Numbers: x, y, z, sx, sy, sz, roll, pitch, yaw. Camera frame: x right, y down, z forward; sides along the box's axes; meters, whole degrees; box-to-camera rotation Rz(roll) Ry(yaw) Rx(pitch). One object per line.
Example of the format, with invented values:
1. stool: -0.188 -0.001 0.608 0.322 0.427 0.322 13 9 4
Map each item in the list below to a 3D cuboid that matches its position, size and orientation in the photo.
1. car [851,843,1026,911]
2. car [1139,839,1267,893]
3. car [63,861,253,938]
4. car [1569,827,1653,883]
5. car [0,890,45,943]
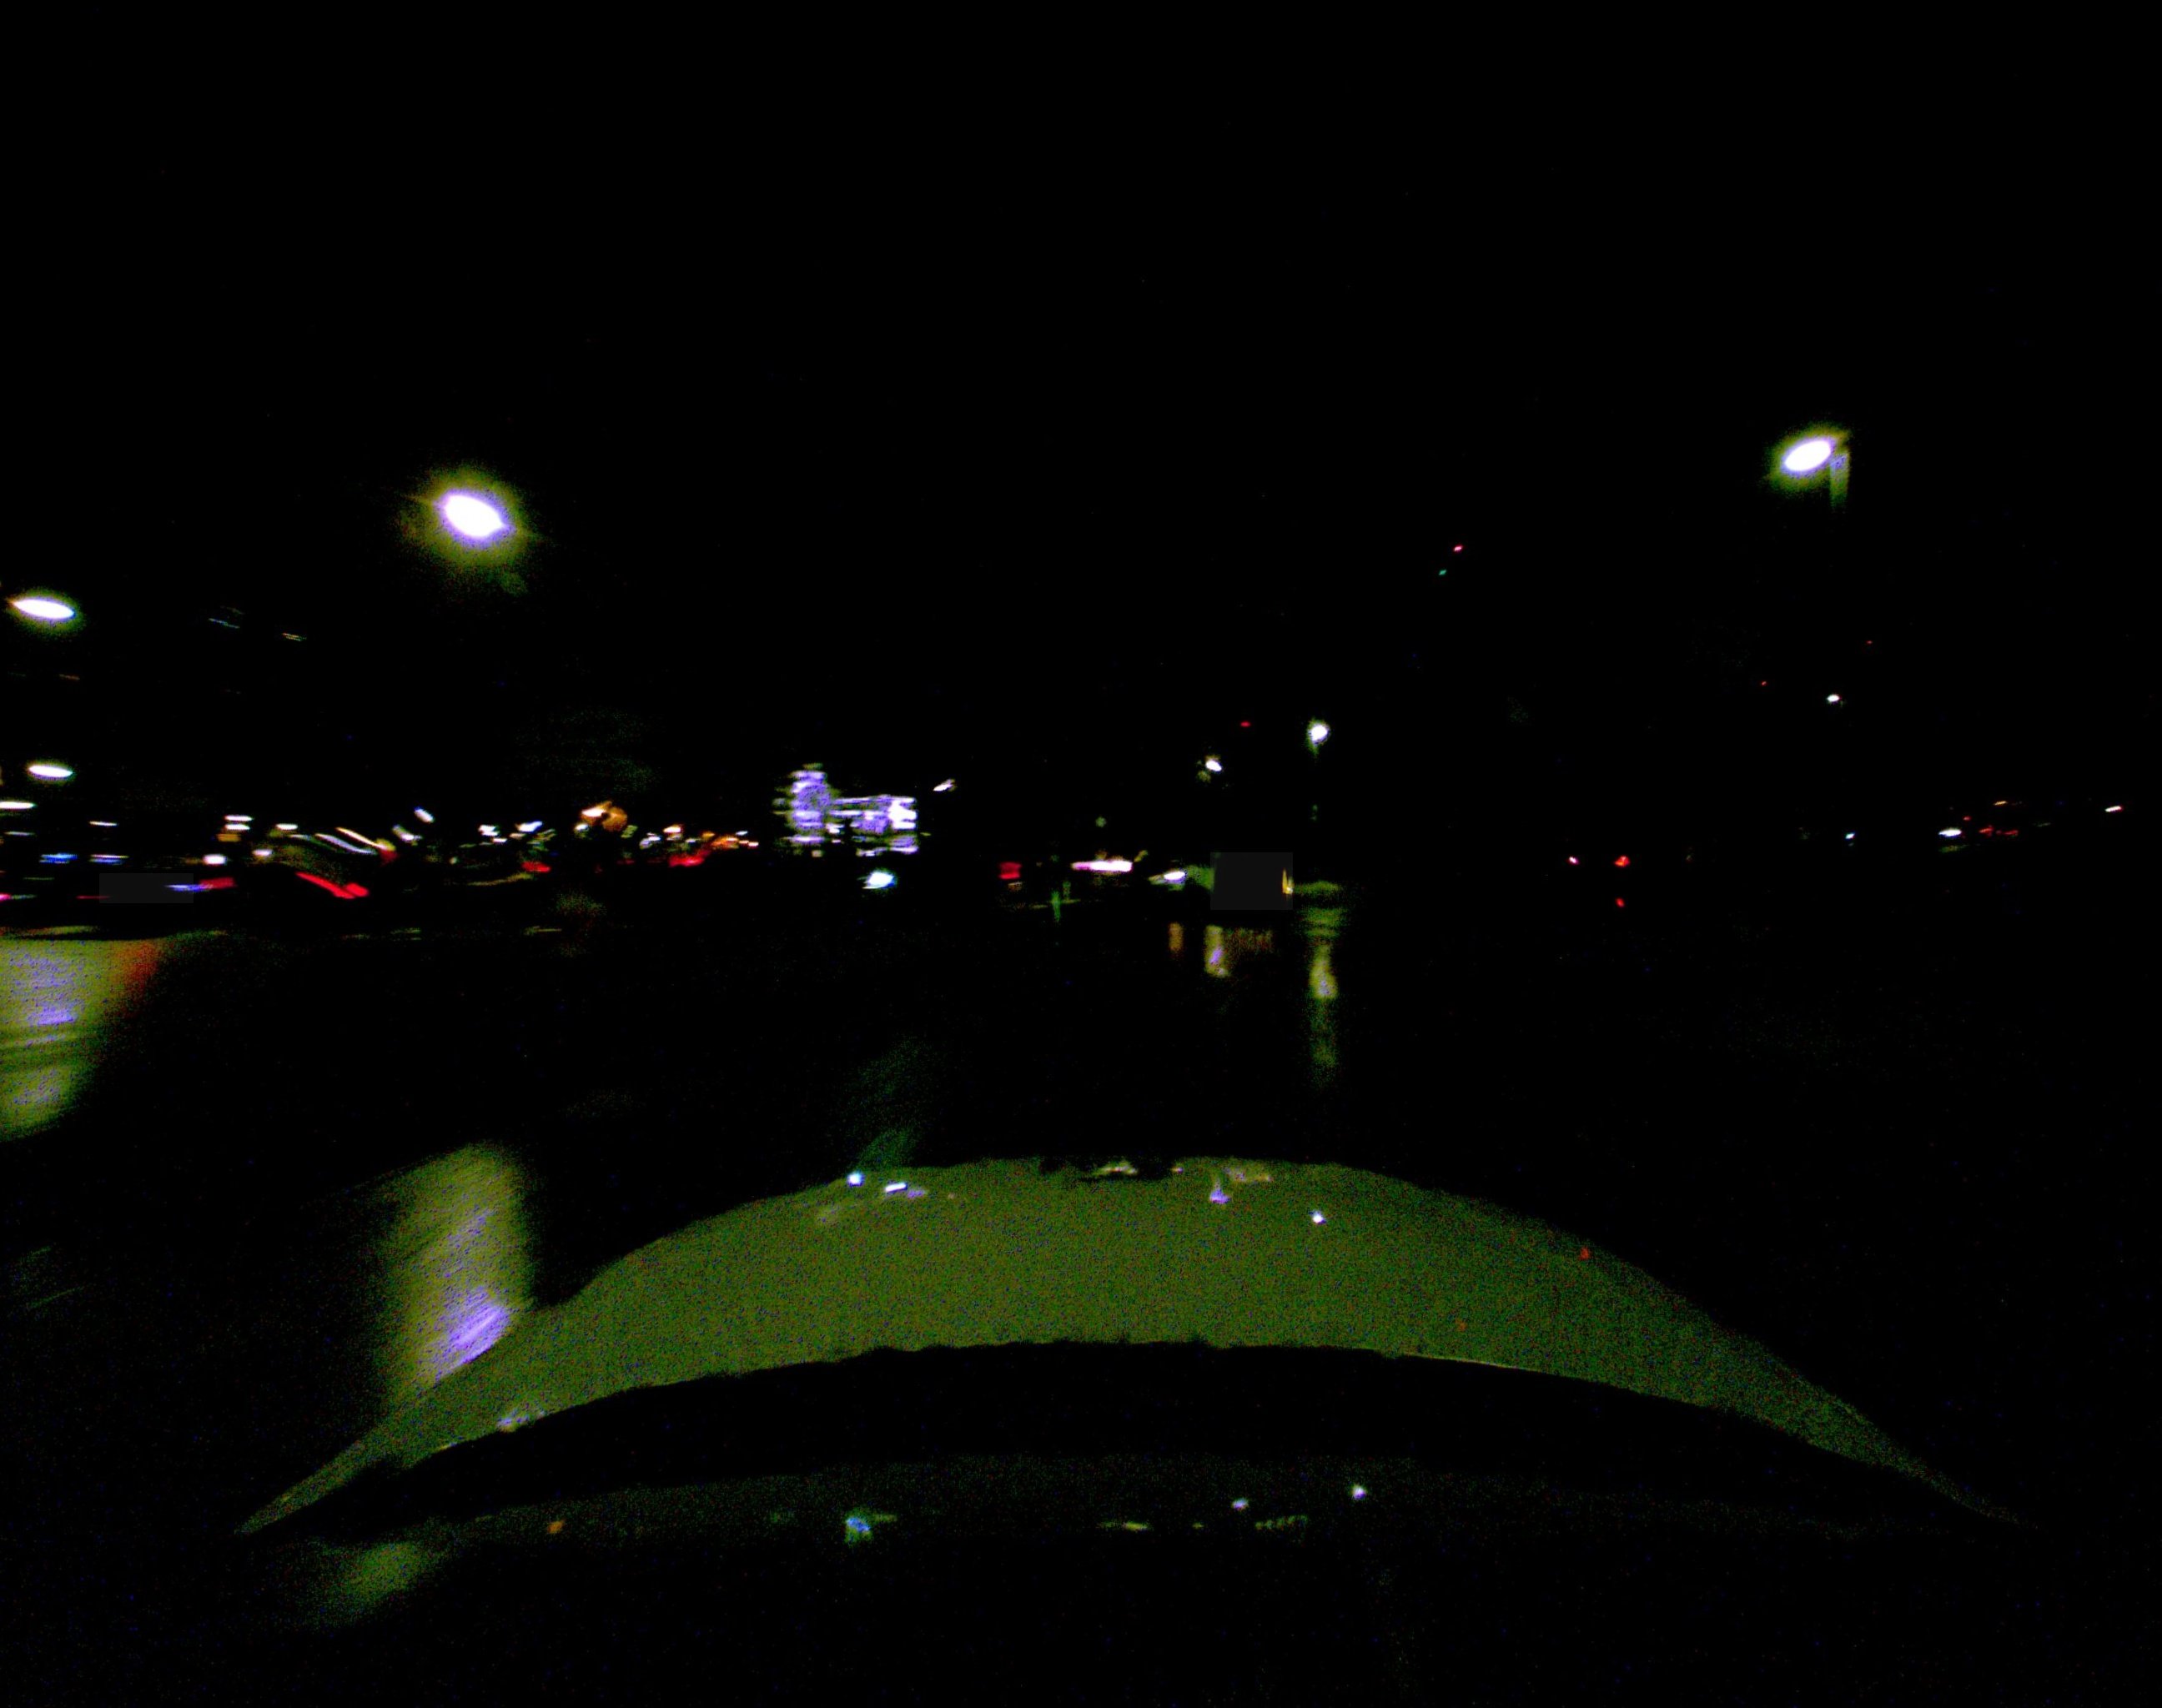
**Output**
1. car: -4.133 0.587 23.732 4.630 1.736 1.983 -1 1 -27
2. car: 4.414 0.374 29.284 4.408 1.758 1.860 -1 1 -30
3. car: -22.422 1.033 19.799 3.844 1.639 1.874 0 1 22
4. car: 20.600 -0.010 31.589 1.975 2.013 4.585 1 2 43
5. car: -37.097 2.136 28.084 3.948 1.583 1.606 1 1 37
